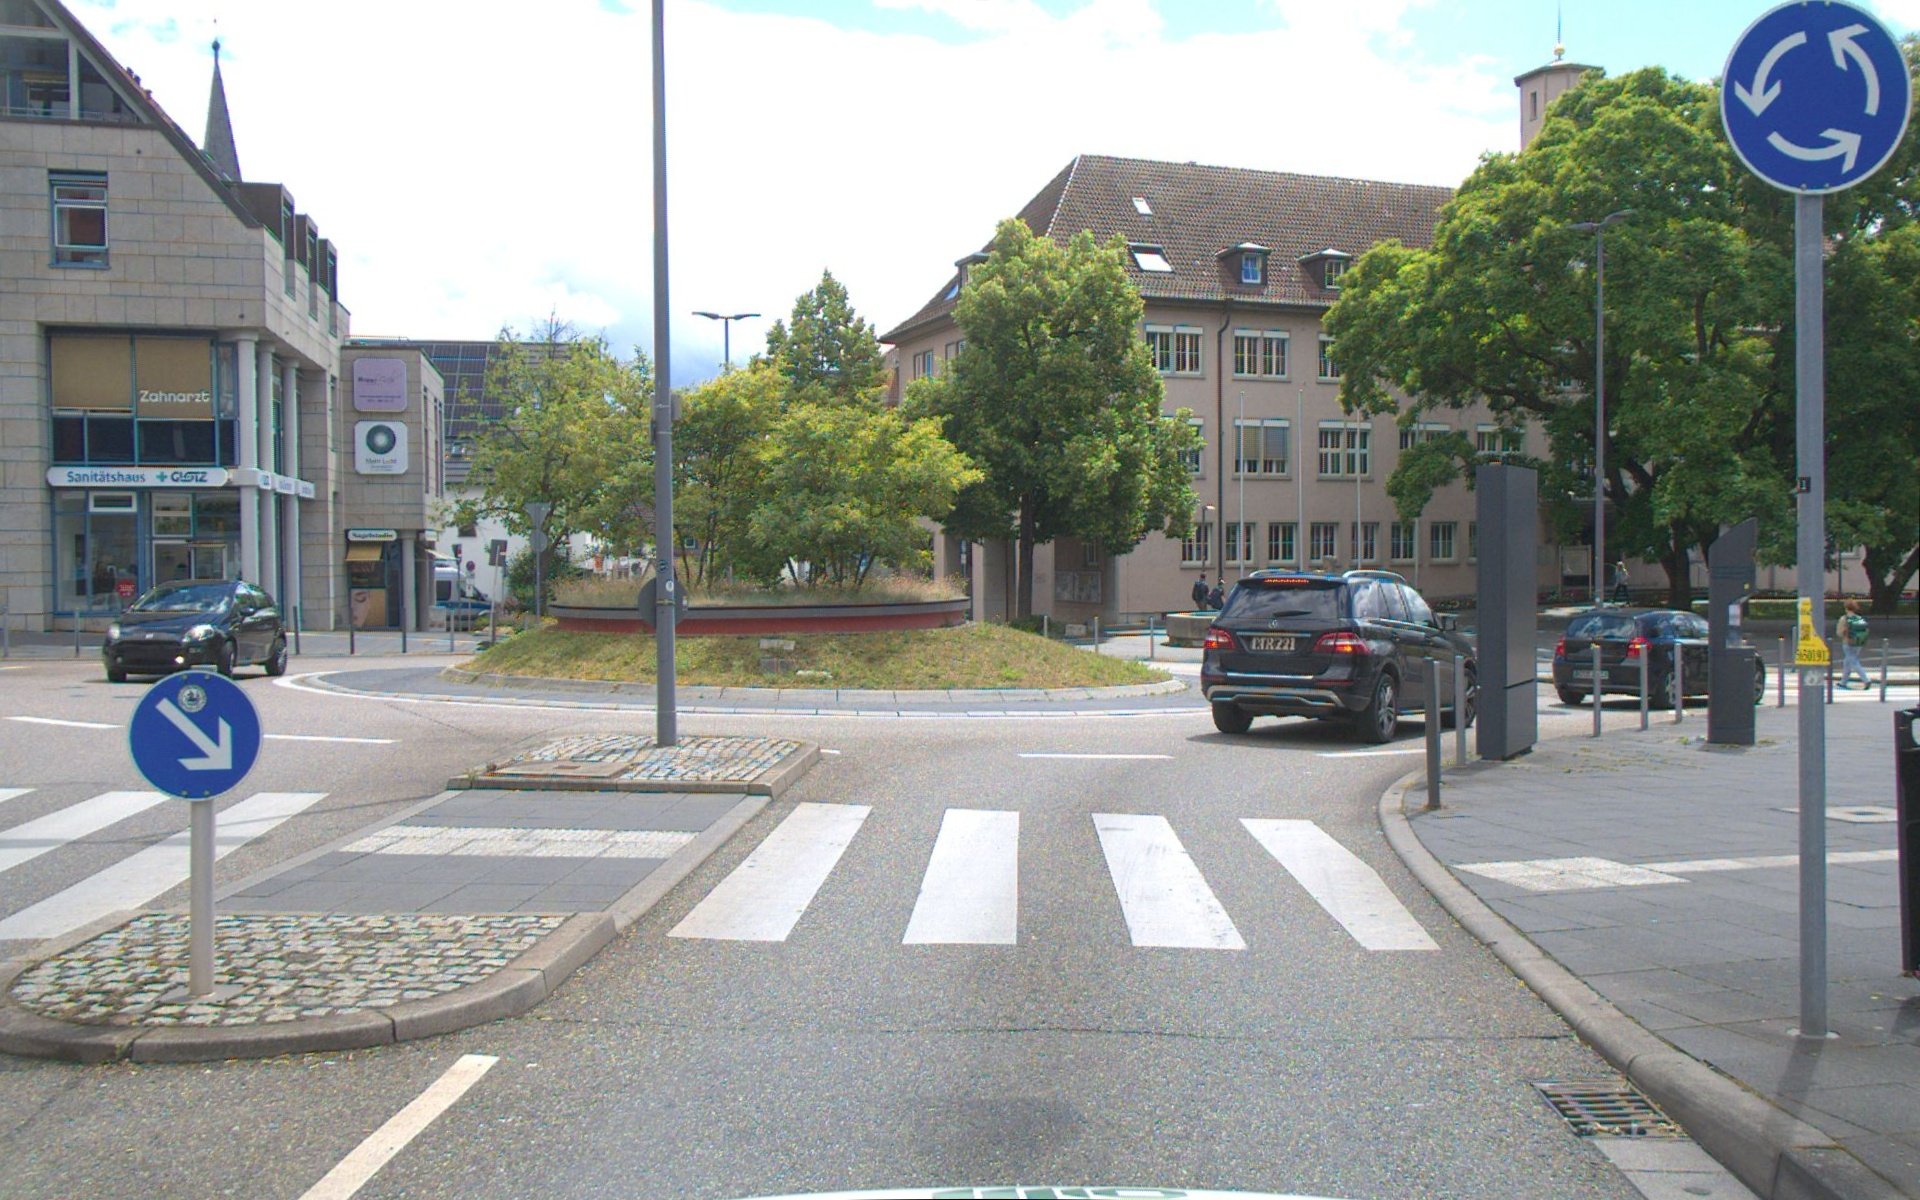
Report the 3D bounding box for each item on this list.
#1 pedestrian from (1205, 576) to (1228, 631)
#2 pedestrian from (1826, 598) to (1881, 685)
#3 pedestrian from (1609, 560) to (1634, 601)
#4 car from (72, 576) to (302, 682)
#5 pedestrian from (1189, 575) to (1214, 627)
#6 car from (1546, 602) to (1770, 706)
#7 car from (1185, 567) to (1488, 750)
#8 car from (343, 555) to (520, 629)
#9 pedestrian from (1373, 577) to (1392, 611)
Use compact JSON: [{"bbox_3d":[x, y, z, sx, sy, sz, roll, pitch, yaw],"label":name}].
[{"bbox_3d":[7.774,0.107,50.121,0.561,1.636,0.437,1,4,-4],"label":"pedestrian"},{"bbox_3d":[16.461,0.749,30.481,0.539,1.540,0.787,-1,2,-5],"label":"pedestrian"},{"bbox_3d":[24.818,-0.719,62.058,0.683,1.519,0.816,1,0,8],"label":"pedestrian"},{"bbox_3d":[-11.414,0.464,24.742,1.664,1.444,4.115,0,-2,-3],"label":"car"},{"bbox_3d":[7.414,0.014,50.814,0.624,1.549,0.577,1,4,-4],"label":"pedestrian"},{"bbox_3d":[10.504,0.756,24.798,3.801,1.407,1.590,0,0,-40],"label":"car"},{"bbox_3d":[4.374,0.550,18.681,1.991,1.757,4.422,2,1,32],"label":"car"},{"bbox_3d":[-20.381,-0.247,63.873,6.213,2.605,2.186,2,-3,-28],"label":"car"},{"bbox_3d":[14.968,-0.215,58.586,0.477,1.203,0.580,1,0,29],"label":"pedestrian"}]
